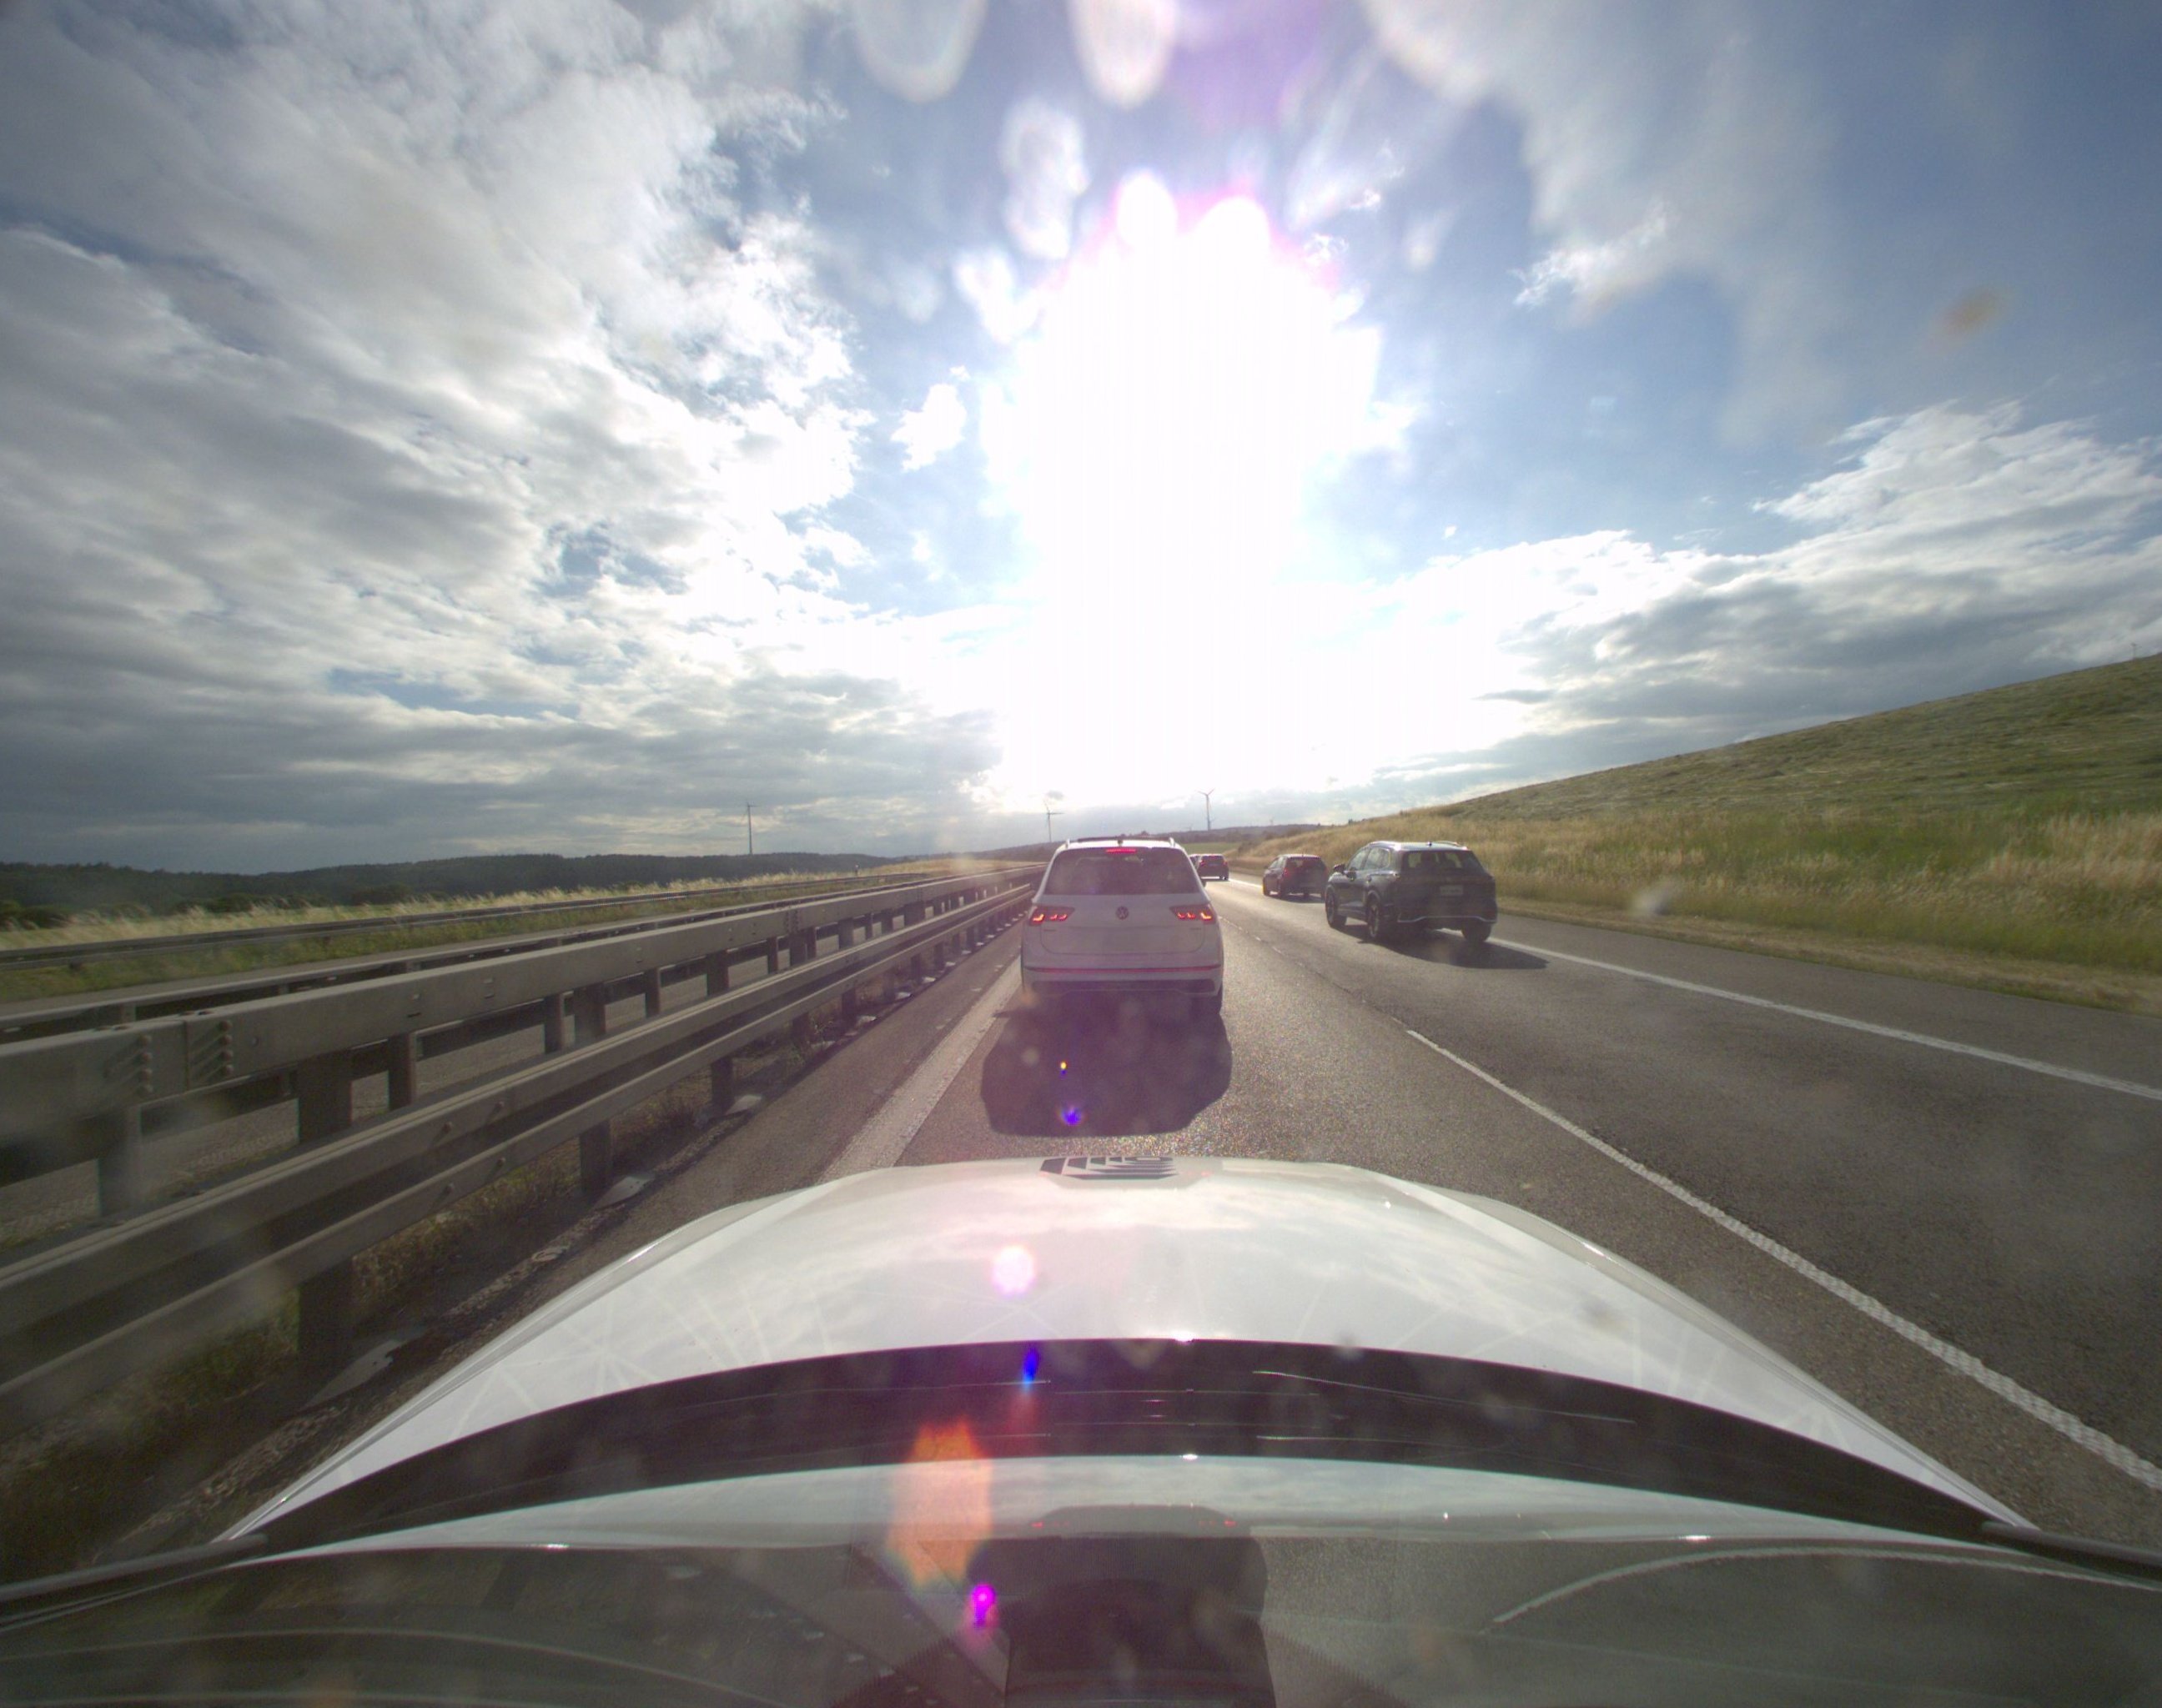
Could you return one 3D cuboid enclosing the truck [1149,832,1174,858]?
[{"bbox_3d":[11.423,-1.274,116.958,3.170,3.593,11.142,-1,0,4],"label":"truck"}]

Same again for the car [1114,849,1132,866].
[{"bbox_3d":[4.292,0.369,83.229,1.697,1.650,4.002,-1,0,2],"label":"car"}]

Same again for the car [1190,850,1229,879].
[{"bbox_3d":[7.280,0.567,46.567,1.697,1.546,4.002,-1,0,2],"label":"car"}]

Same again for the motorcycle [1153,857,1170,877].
[{"bbox_3d":[5.039,0.793,51.050,0.892,1.190,2.257,-1,0,1],"label":"motorcycle"}]

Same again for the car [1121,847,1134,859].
[{"bbox_3d":[6.396,-0.119,113.148,1.697,1.546,4.002,-1,0,2],"label":"car"}]

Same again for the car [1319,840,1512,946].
[{"bbox_3d":[5.710,0.608,14.498,1.814,1.601,4.236,0,0,2],"label":"car"}]

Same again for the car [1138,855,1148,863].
[{"bbox_3d":[12.275,1.013,160.803,1.697,1.546,4.002,-1,0,2],"label":"car"}]

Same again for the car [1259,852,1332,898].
[{"bbox_3d":[7.147,0.672,27.460,1.599,1.420,3.674,-1,0,3],"label":"car"}]

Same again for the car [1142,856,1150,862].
[{"bbox_3d":[15.348,1.156,191.554,1.697,1.546,4.002,-1,0,2],"label":"car"}]

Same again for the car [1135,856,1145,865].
[{"bbox_3d":[10.810,1.224,149.243,1.697,1.546,4.002,-1,0,2],"label":"car"}]

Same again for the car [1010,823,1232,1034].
[{"bbox_3d":[0.388,0.614,8.599,1.763,1.675,4.002,-1,0,2],"label":"car"}]

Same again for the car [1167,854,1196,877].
[{"bbox_3d":[7.413,0.823,60.313,1.697,1.650,4.002,-1,0,2],"label":"car"}]

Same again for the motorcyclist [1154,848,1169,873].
[{"bbox_3d":[5.032,0.417,51.008,0.846,1.560,0.934,-1,-1,1],"label":"motorcyclist"}]
